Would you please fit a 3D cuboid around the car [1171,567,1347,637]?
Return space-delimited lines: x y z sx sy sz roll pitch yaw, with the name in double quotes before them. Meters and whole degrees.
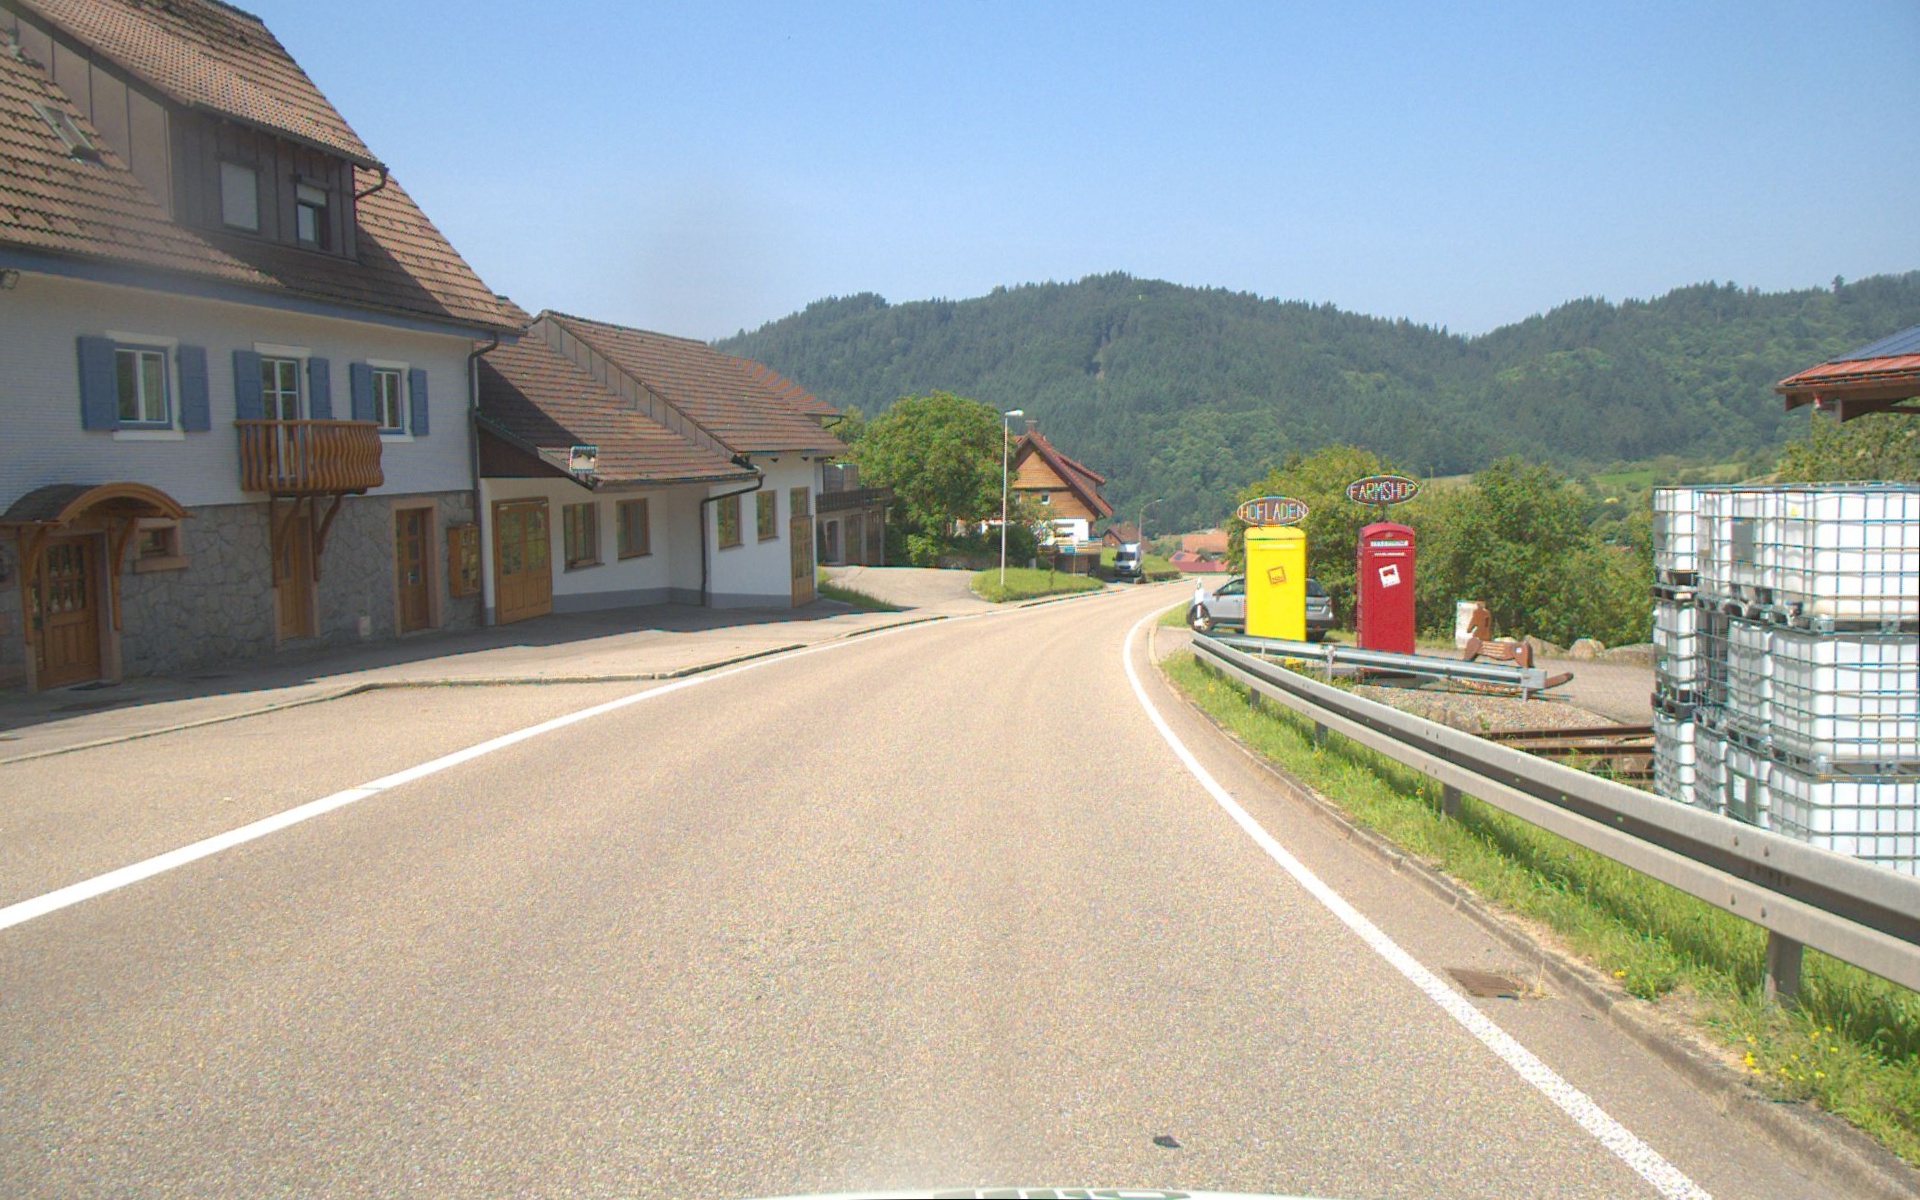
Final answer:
"car" 7.541 0.022 42.101 1.882 1.598 4.412 1 2 -33

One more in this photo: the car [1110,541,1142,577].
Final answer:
"car" 14.439 -3.622 143.523 2.023 2.734 7.184 0 4 11
